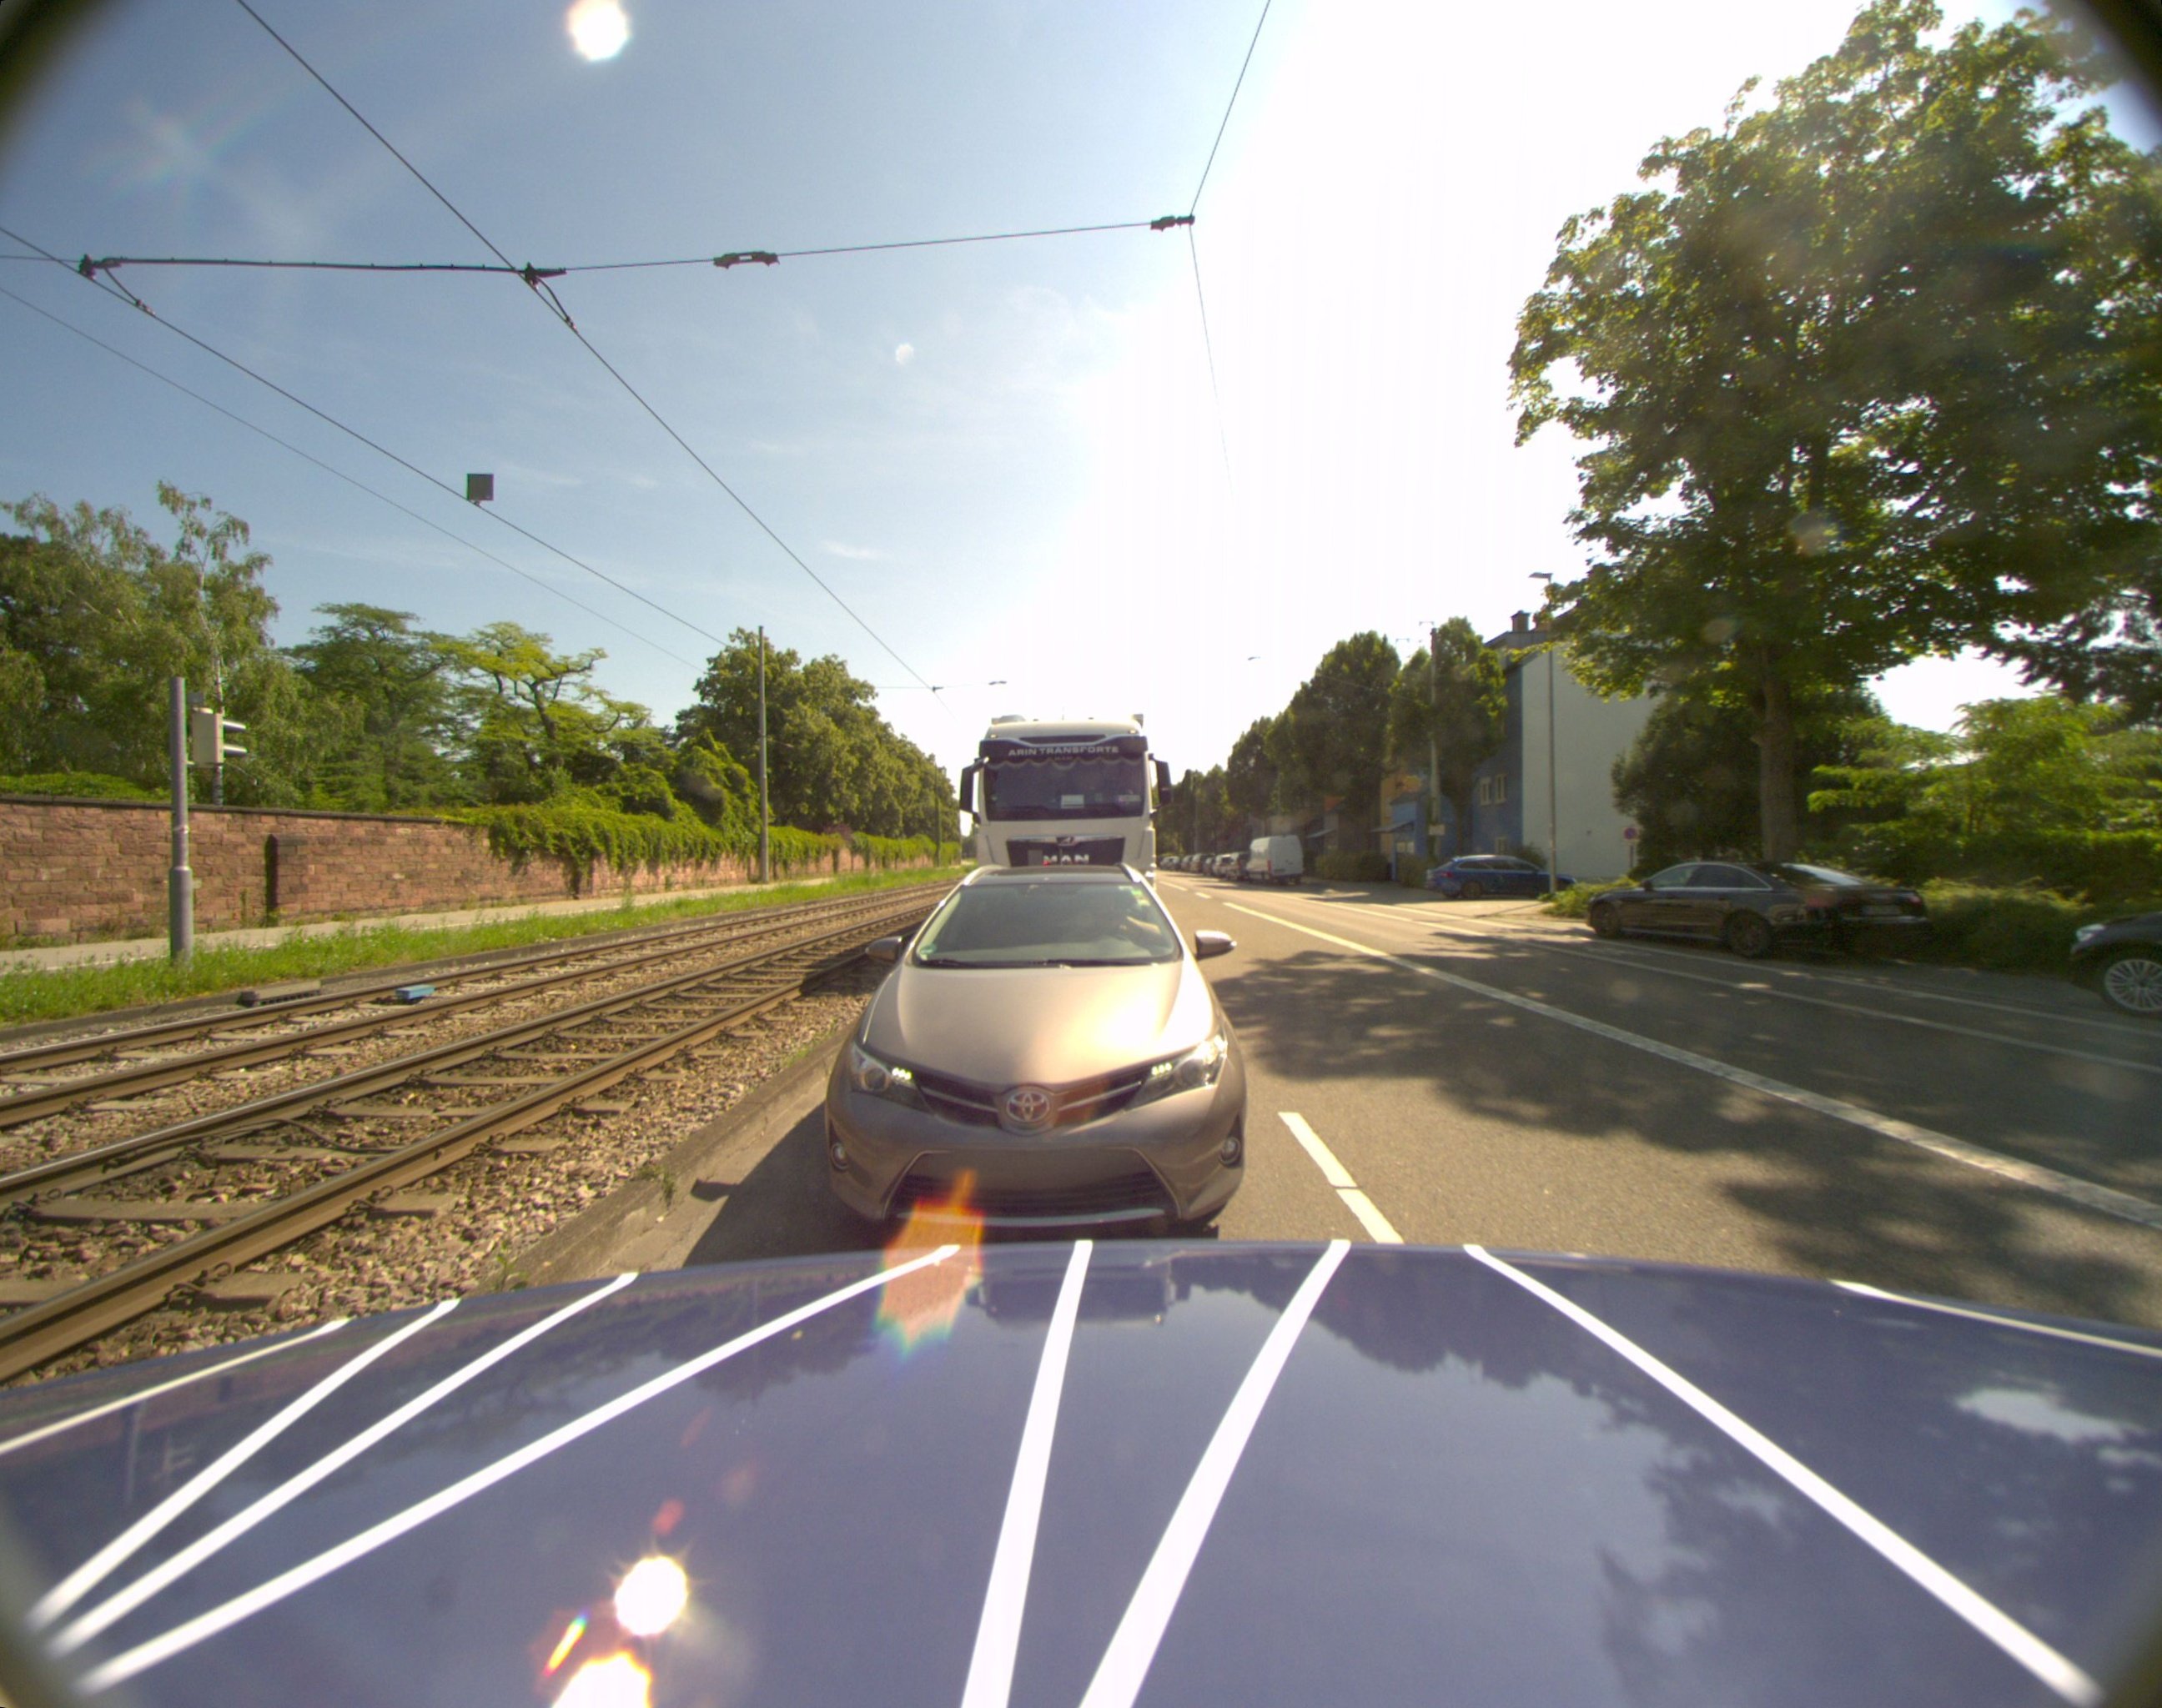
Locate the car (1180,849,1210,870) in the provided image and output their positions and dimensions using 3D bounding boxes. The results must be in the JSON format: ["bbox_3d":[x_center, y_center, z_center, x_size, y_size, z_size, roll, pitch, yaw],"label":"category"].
[{"bbox_3d":[11.001,0.524,73.383,1.998,1.795,4.769,-6,0,0],"label":"car"}]

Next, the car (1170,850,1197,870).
[{"bbox_3d":[10.606,0.589,79.173,1.998,1.795,4.769,-6,0,0],"label":"car"}]

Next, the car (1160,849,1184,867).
[{"bbox_3d":[10.218,0.433,85.454,1.998,1.795,4.769,-6,0,0],"label":"car"}]

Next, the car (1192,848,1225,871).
[{"bbox_3d":[11.317,0.455,67.679,1.998,1.795,4.769,-6,0,0],"label":"car"}]

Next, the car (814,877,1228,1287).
[{"bbox_3d":[-0.203,0.932,4.892,1.573,1.422,4.000,0,0,1],"label":"car"}]

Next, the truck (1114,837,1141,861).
[{"bbox_3d":[7.041,-0.749,116.113,2.704,3.263,6.724,-6,0,-5],"label":"truck"}]

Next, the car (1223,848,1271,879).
[{"bbox_3d":[11.157,0.613,51.404,1.998,1.795,4.769,-6,0,0],"label":"car"}]

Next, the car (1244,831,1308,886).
[{"bbox_3d":[10.938,0.234,43.156,1.998,2.678,6.214,-6,0,2],"label":"car"}]

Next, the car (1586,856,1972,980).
[{"bbox_3d":[10.592,0.835,12.167,1.868,1.562,4.621,-1,0,-2],"label":"car"}]

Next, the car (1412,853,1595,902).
[{"bbox_3d":[14.215,0.786,25.810,5.069,1.422,1.891,-2,0,5],"label":"car"}]

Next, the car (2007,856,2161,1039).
[{"bbox_3d":[10.553,0.843,5.576,1.868,1.562,4.621,-2,0,1],"label":"car"}]

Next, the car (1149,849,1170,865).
[{"bbox_3d":[9.958,0.373,96.874,1.998,1.795,4.769,-6,0,0],"label":"car"}]

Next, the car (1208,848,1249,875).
[{"bbox_3d":[11.103,0.551,57.385,1.998,1.795,4.769,-6,0,0],"label":"car"}]

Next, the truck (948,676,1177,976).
[{"bbox_3d":[-0.134,-0.381,17.216,2.935,3.856,14.912,0,0,1],"label":"truck"}]

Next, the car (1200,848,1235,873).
[{"bbox_3d":[11.249,0.518,62.868,1.998,1.795,4.256,-6,0,0],"label":"car"}]

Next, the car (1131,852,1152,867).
[{"bbox_3d":[8.328,0.730,105.576,1.999,1.795,5.111,-6,0,-4],"label":"car"}]
